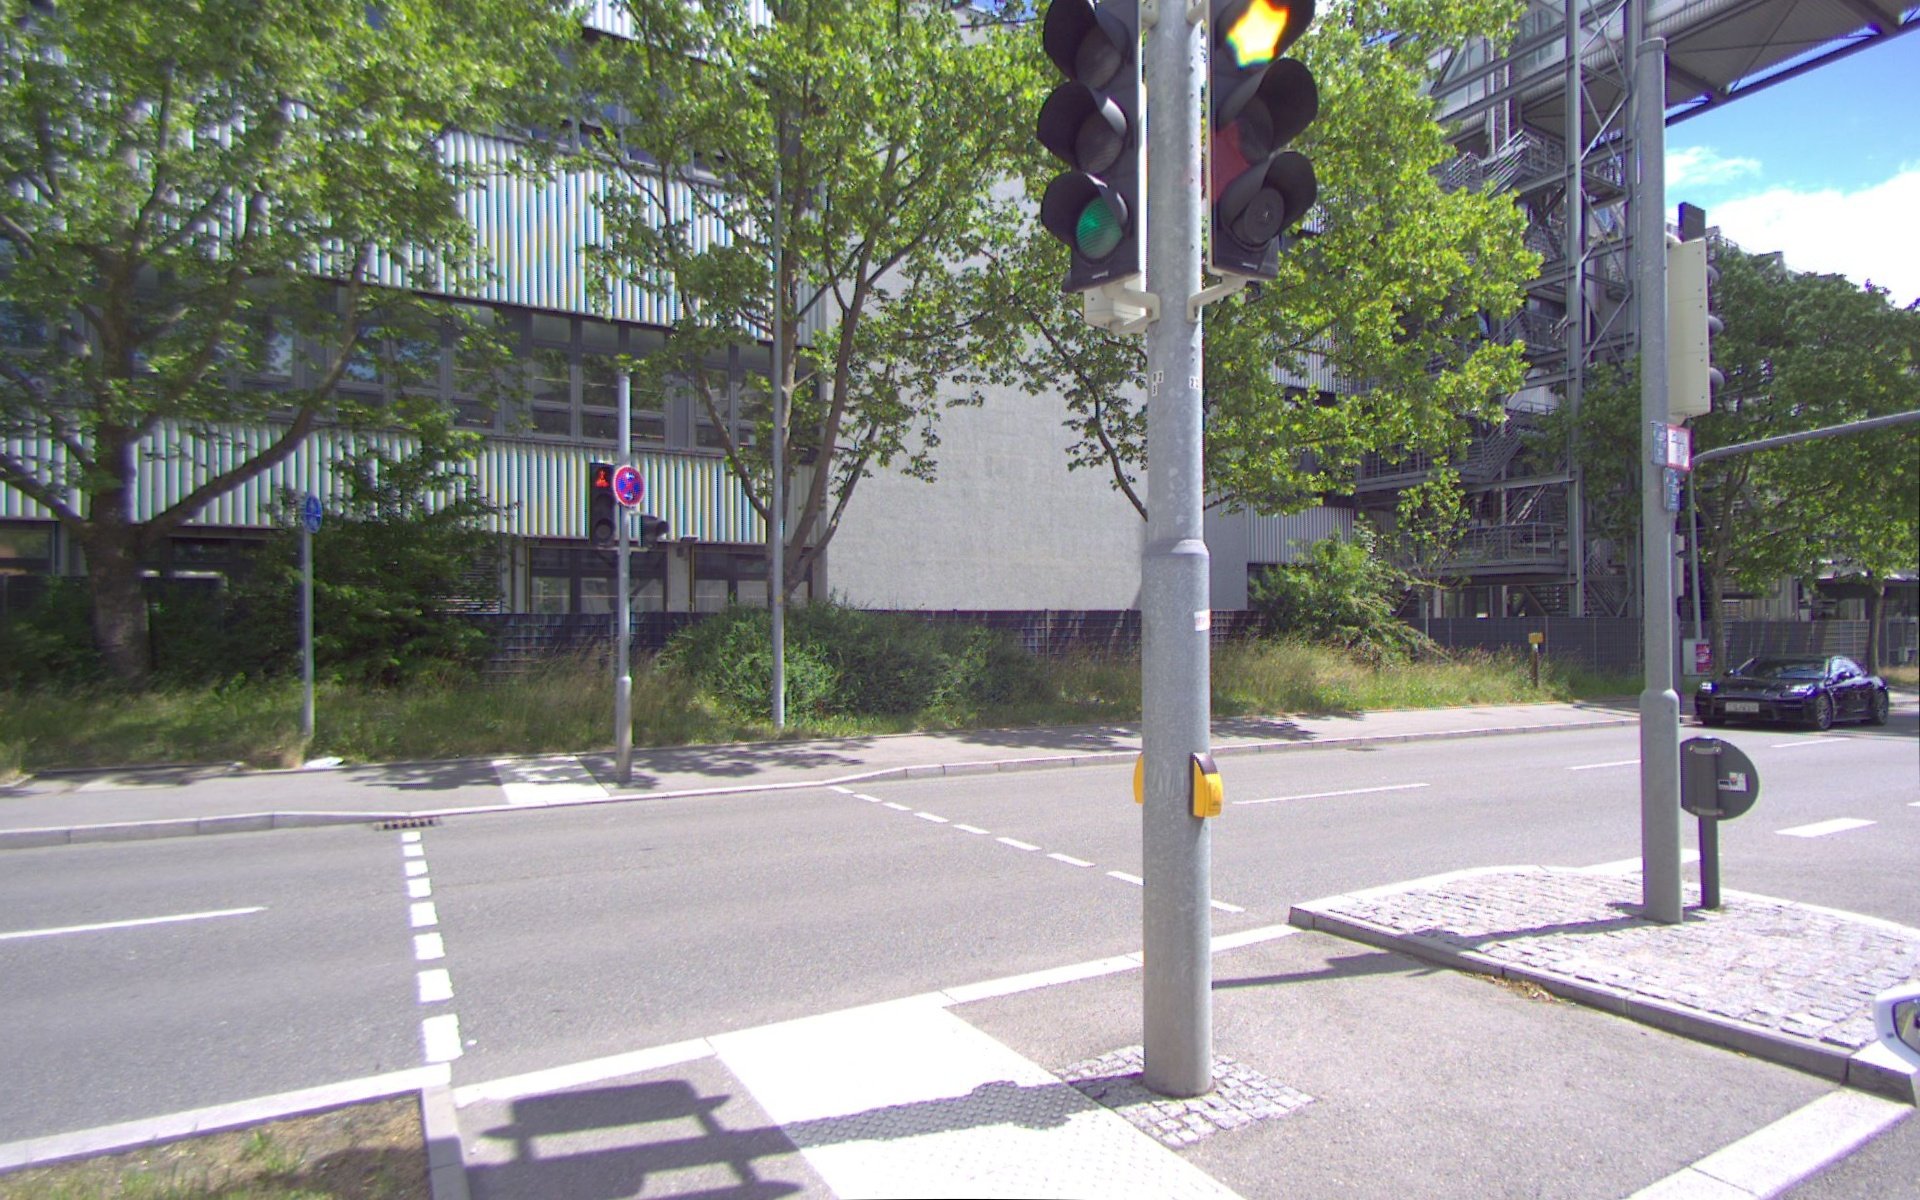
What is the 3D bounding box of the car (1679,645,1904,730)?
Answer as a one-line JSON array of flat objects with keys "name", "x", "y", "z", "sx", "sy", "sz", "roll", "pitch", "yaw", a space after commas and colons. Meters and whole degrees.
[{"name": "car", "x": 16.649, "y": 1.681, "z": 20.077, "sx": 4.715, "sy": 1.508, "sz": 1.909, "roll": 2, "pitch": -3, "yaw": -30}]
